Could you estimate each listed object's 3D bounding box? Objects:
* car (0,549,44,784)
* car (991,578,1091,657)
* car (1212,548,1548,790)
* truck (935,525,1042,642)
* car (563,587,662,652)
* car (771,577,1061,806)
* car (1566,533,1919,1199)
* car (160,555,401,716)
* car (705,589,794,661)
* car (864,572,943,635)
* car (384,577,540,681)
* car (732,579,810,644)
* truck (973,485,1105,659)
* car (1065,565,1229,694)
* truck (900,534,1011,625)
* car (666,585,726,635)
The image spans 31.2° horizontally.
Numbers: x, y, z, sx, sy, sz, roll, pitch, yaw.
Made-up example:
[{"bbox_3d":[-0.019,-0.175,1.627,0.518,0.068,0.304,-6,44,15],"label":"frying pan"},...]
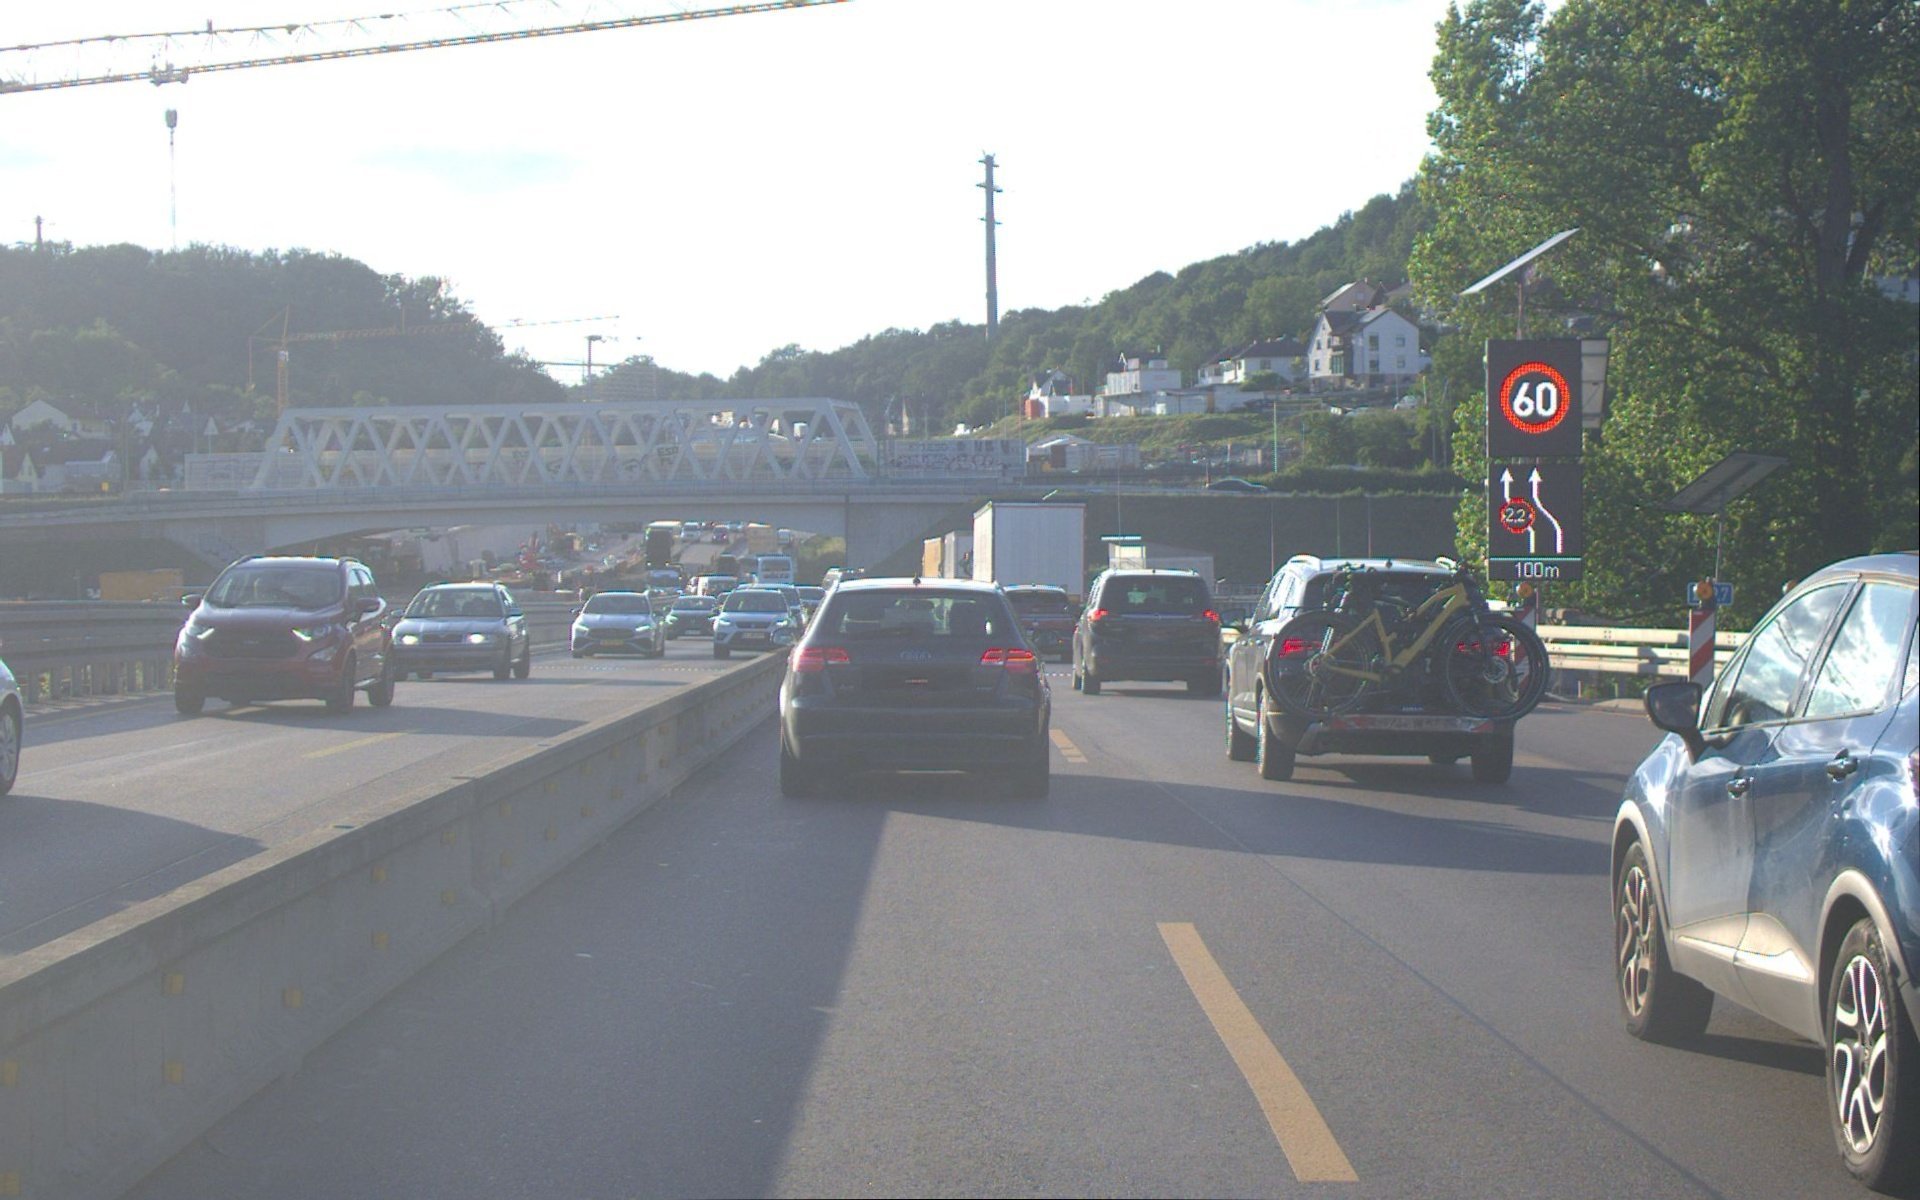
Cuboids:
[{"bbox_3d":[-6.749,0.433,20.218,1.701,1.441,4.000,0,1,-1],"label":"car"},{"bbox_3d":[1.650,0.343,71.524,1.770,1.547,4.000,1,0,-3],"label":"car"},{"bbox_3d":[2.950,0.451,25.132,1.875,1.594,4.966,0,0,0],"label":"car"},{"bbox_3d":[1.043,-0.802,140.292,3.890,4.483,15.268,1,1,-1],"label":"truck"},{"bbox_3d":[-7.581,0.429,75.320,1.774,1.378,4.532,0,0,-1],"label":"car"},{"bbox_3d":[-0.359,0.551,23.192,1.770,1.385,4.000,1,0,-3],"label":"car"},{"bbox_3d":[2.956,0.625,9.563,1.774,1.580,4.135,1,1,0],"label":"car"},{"bbox_3d":[-7.060,0.323,36.057,1.780,1.565,4.000,0,1,-1],"label":"car"},{"bbox_3d":[-4.611,0.536,75.610,1.804,1.506,4.000,0,1,-1],"label":"car"},{"bbox_3d":[-1.426,0.060,84.901,1.765,1.481,4.000,1,0,-3],"label":"car"},{"bbox_3d":[-7.424,0.402,51.604,1.677,1.418,4.579,1,1,0],"label":"car"},{"bbox_3d":[-5.194,0.299,95.028,1.993,1.753,4.660,0,0,-1],"label":"car"},{"bbox_3d":[2.123,-0.996,99.033,3.385,4.482,15.269,1,2,0],"label":"truck"},{"bbox_3d":[2.443,0.360,45.894,1.814,1.627,4.411,1,0,-1],"label":"car"},{"bbox_3d":[-0.345,-1.152,180.658,3.889,4.483,13.852,1,1,-8],"label":"truck"},{"bbox_3d":[-8.646,0.308,112.731,1.710,1.546,4.000,-1,1,-1],"label":"car"}]
